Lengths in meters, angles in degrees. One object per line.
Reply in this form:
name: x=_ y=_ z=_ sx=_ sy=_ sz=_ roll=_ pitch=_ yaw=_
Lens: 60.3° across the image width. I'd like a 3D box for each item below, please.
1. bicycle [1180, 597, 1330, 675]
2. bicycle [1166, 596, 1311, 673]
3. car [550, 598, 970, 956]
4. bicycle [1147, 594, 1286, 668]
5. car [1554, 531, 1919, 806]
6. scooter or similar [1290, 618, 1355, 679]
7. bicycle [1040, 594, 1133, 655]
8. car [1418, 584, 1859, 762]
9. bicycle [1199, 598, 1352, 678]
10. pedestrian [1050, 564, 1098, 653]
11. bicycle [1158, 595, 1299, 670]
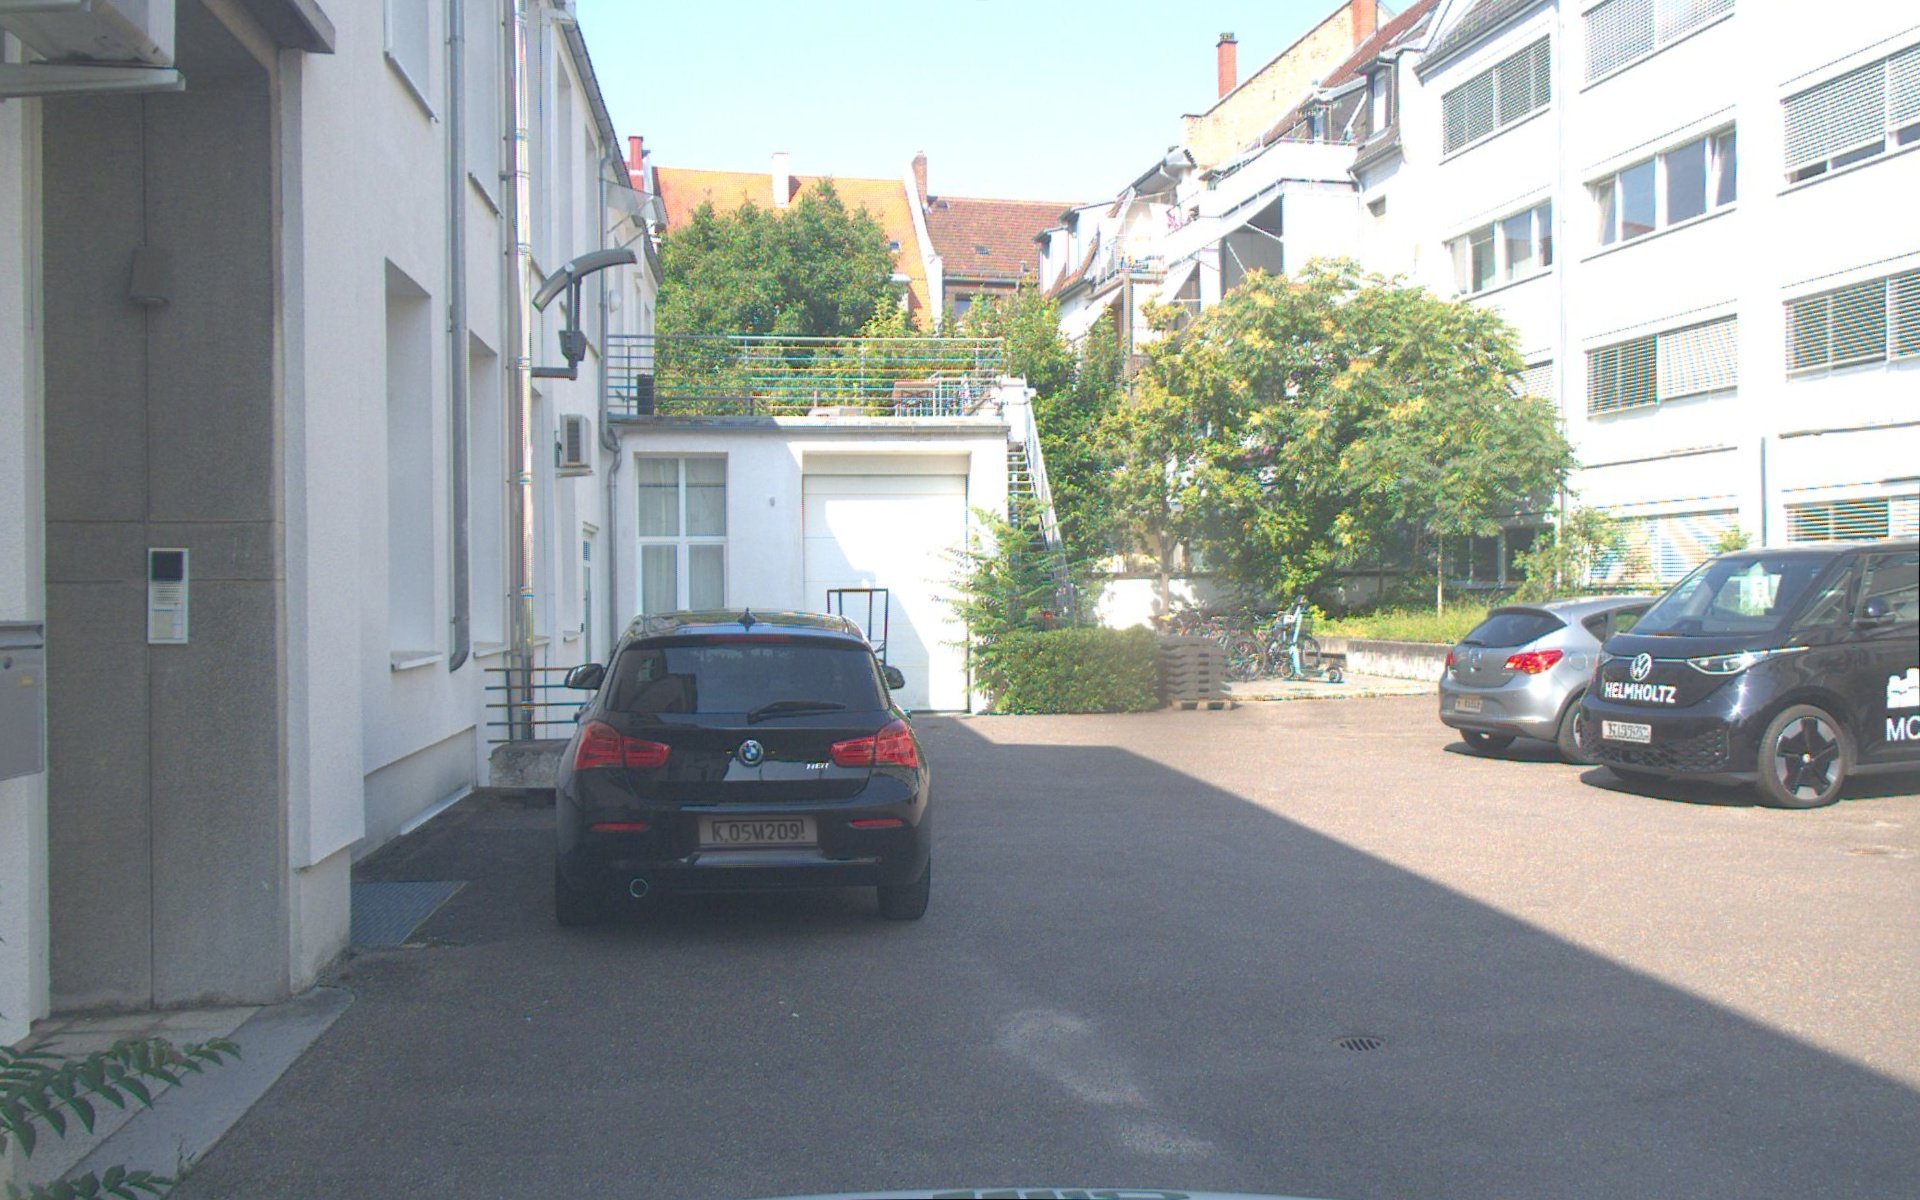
bicycle: x=4.821 y=0.579 z=27.070 sx=2.365 sy=1.268 sz=0.525 roll=0 pitch=0 yaw=-7
bicycle: x=4.693 y=0.569 z=27.854 sx=2.365 sy=1.268 sz=0.525 roll=0 pitch=0 yaw=-7
car: x=-1.153 y=0.726 z=9.003 sx=1.760 sy=1.453 sz=4.127 roll=0 pitch=0 yaw=-9
bicycle: x=4.518 y=0.539 z=29.174 sx=2.365 sy=1.268 sz=0.525 roll=0 pitch=0 yaw=-7
car: x=7.089 y=0.429 z=13.018 sx=4.266 sy=1.891 sz=1.906 roll=-1 pitch=1 yaw=-17
scooter or similar: x=5.739 y=0.759 z=26.194 sx=0.357 sy=0.940 sz=0.983 roll=0 pitch=0 yaw=-44
bicycle: x=2.590 y=0.488 z=33.677 sx=1.967 sy=1.163 sz=0.484 roll=-2 pitch=1 yaw=-32
car: x=6.518 y=0.624 z=15.914 sx=3.840 sy=1.491 sz=1.653 roll=-1 pitch=1 yaw=-21
bicycle: x=5.049 y=0.597 z=26.462 sx=2.365 sy=1.268 sz=0.525 roll=0 pitch=0 yaw=-7
pedestrian: x=2.326 y=0.172 z=33.822 sx=0.603 sy=1.802 sz=0.851 roll=0 pitch=0 yaw=-32
bicycle: x=4.627 y=0.551 z=28.525 sx=2.365 sy=1.268 sz=0.525 roll=0 pitch=0 yaw=-7
